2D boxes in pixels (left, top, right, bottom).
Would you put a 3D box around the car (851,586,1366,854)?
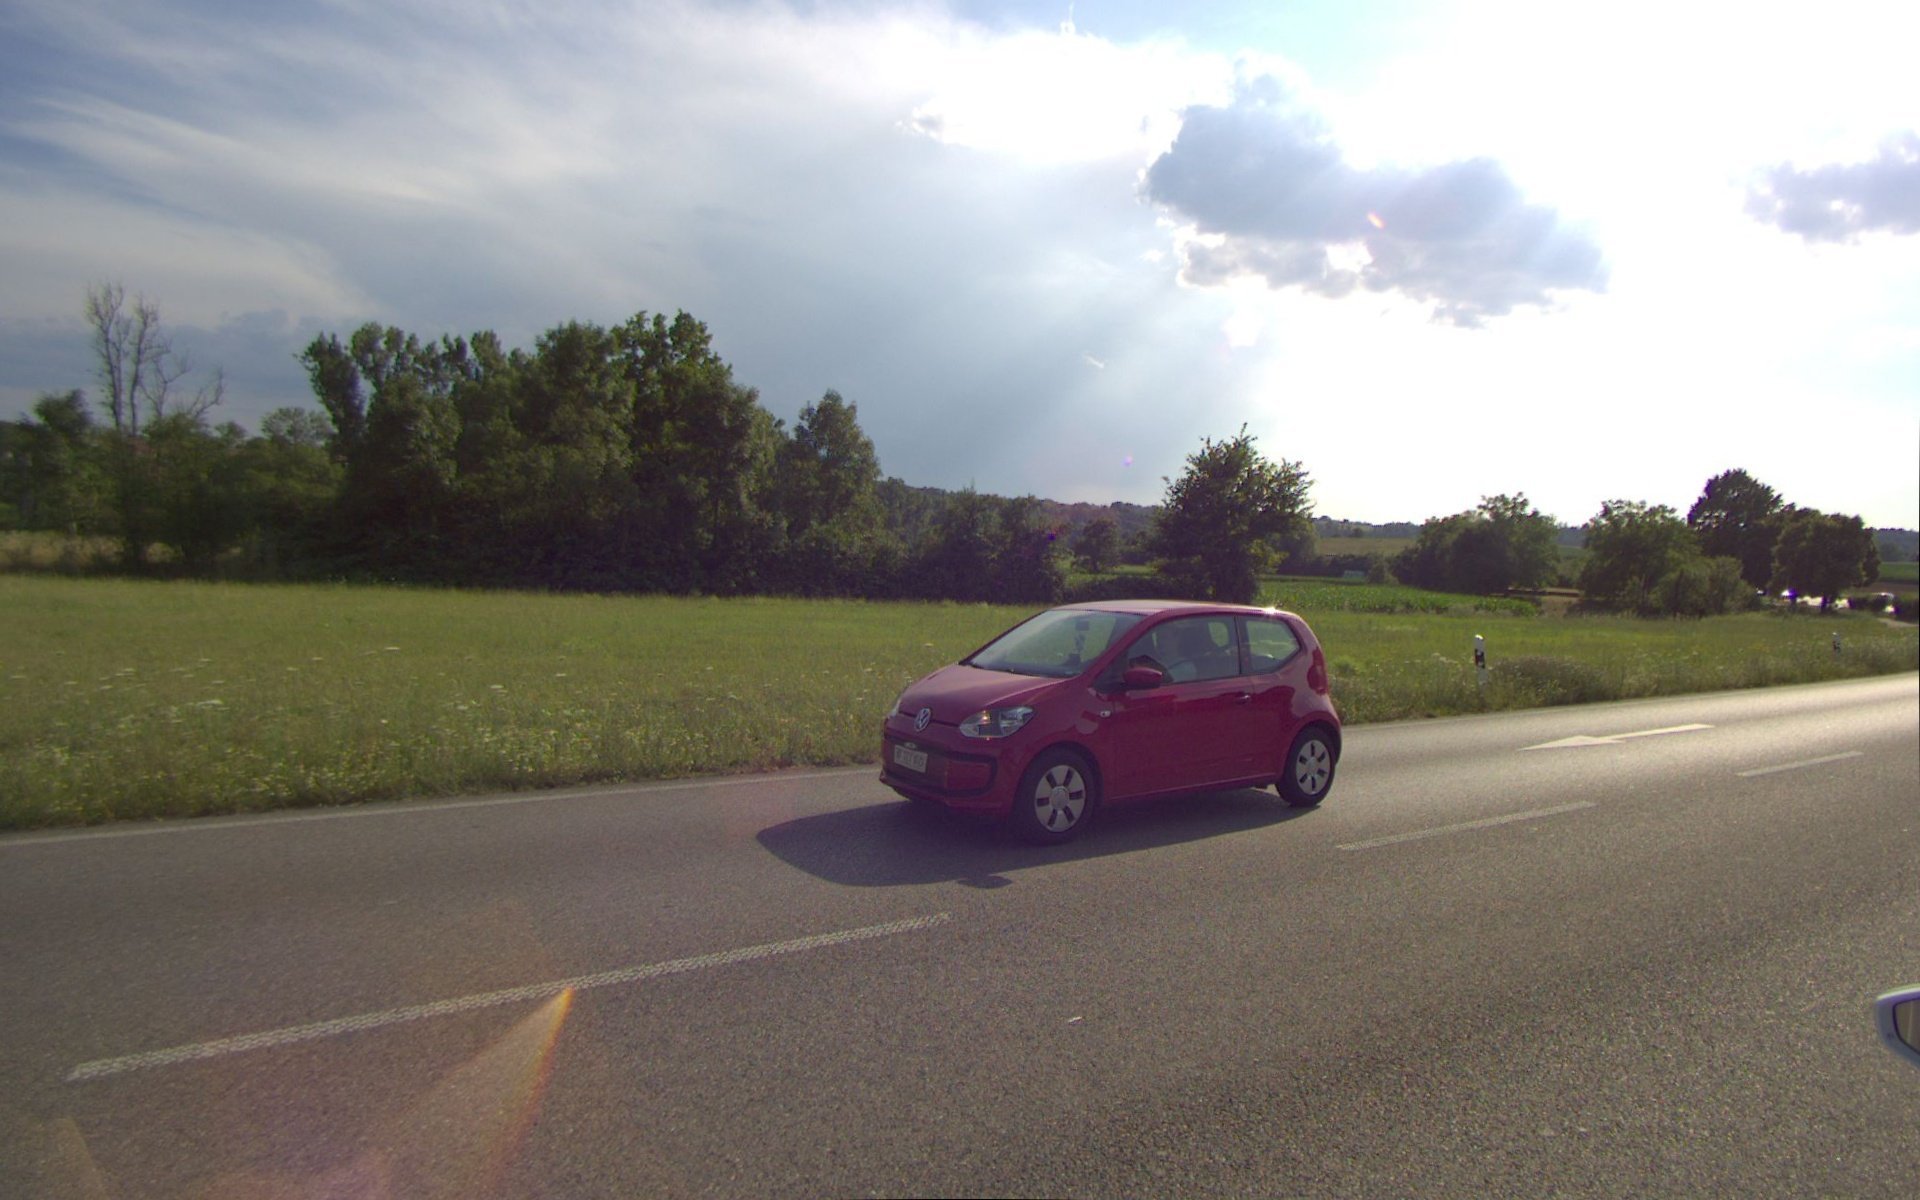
[{"bbox_3d":[1.163,0.695,7.252,3.570,1.486,1.576,1,-1,-34],"label":"car"}]
